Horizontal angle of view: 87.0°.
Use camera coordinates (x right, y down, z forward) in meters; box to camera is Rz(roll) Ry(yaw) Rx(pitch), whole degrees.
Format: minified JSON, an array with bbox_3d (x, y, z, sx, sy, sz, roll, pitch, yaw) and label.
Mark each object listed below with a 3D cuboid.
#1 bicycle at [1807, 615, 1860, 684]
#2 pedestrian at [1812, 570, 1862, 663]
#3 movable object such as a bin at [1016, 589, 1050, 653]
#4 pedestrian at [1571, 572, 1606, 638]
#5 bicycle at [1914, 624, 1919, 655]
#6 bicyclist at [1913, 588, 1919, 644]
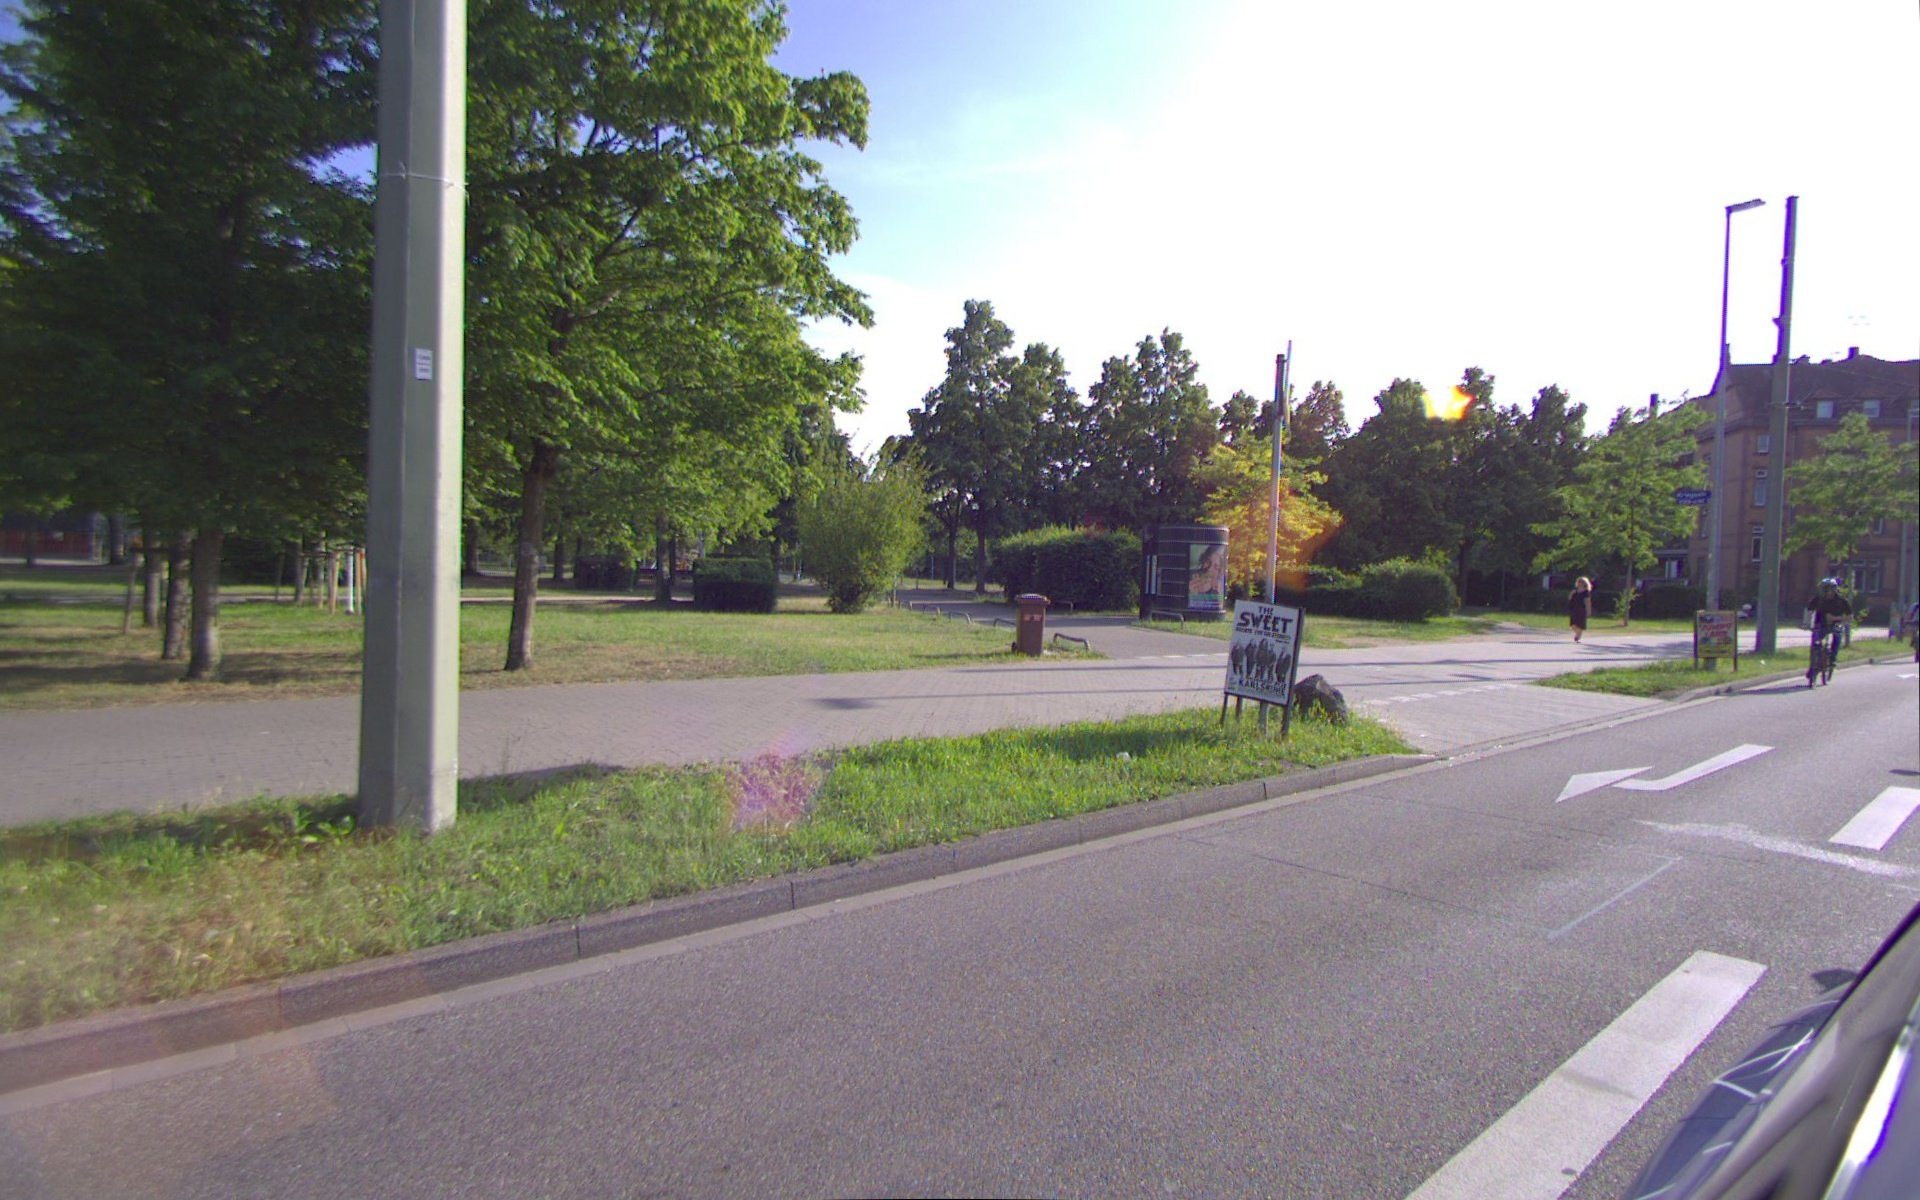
[{"bbox_3d":[14.901,0.810,17.281,0.649,1.059,1.951,0,0,41],"label":"bicycle"},{"bbox_3d":[15.083,0.267,17.406,0.635,1.540,0.832,0,0,41],"label":"pedestrian"},{"bbox_3d":[1.104,0.304,15.437,0.447,0.929,0.605,2,2,1],"label":"movable object such as a bin"},{"bbox_3d":[16.501,0.113,26.575,0.607,1.706,0.621,1,0,-40],"label":"pedestrian"},{"bbox_3d":[26.225,1.070,27.257,2.006,0.803,0.567,0,2,-42],"label":"bicycle"},{"bbox_3d":[26.200,0.439,27.220,1.092,1.472,0.688,0,2,-42],"label":"bicyclist"}]
